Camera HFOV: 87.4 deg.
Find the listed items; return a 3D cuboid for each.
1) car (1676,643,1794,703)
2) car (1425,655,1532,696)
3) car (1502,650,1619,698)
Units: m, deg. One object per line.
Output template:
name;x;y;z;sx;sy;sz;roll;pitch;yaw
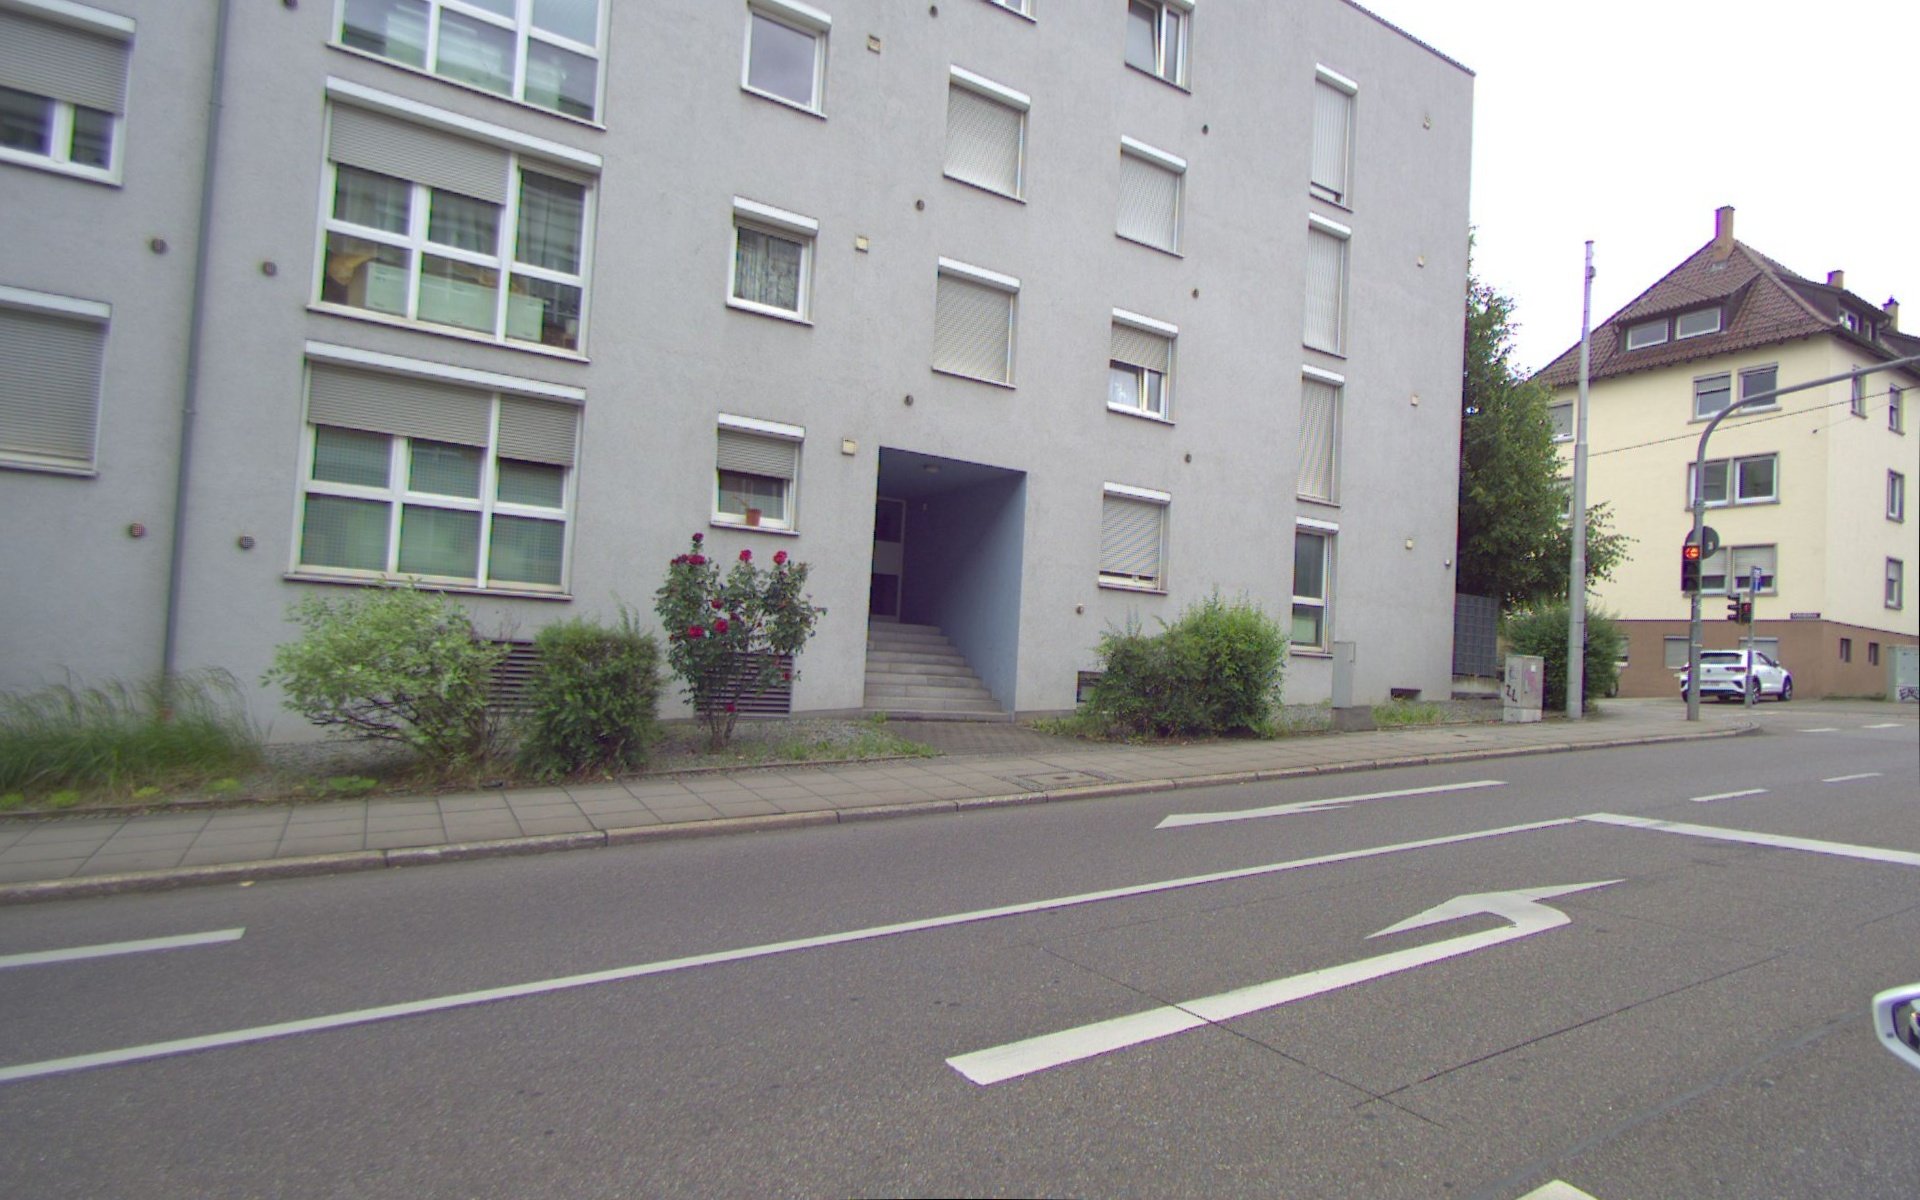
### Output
car;23.260;2.155;30.115;3.960;1.683;1.660;2;-4;-35
car;19.019;2.739;36.810;3.953;1.380;1.662;2;-1;-30
car;20.635;2.516;34.484;4.053;1.566;1.662;2;-4;-30
